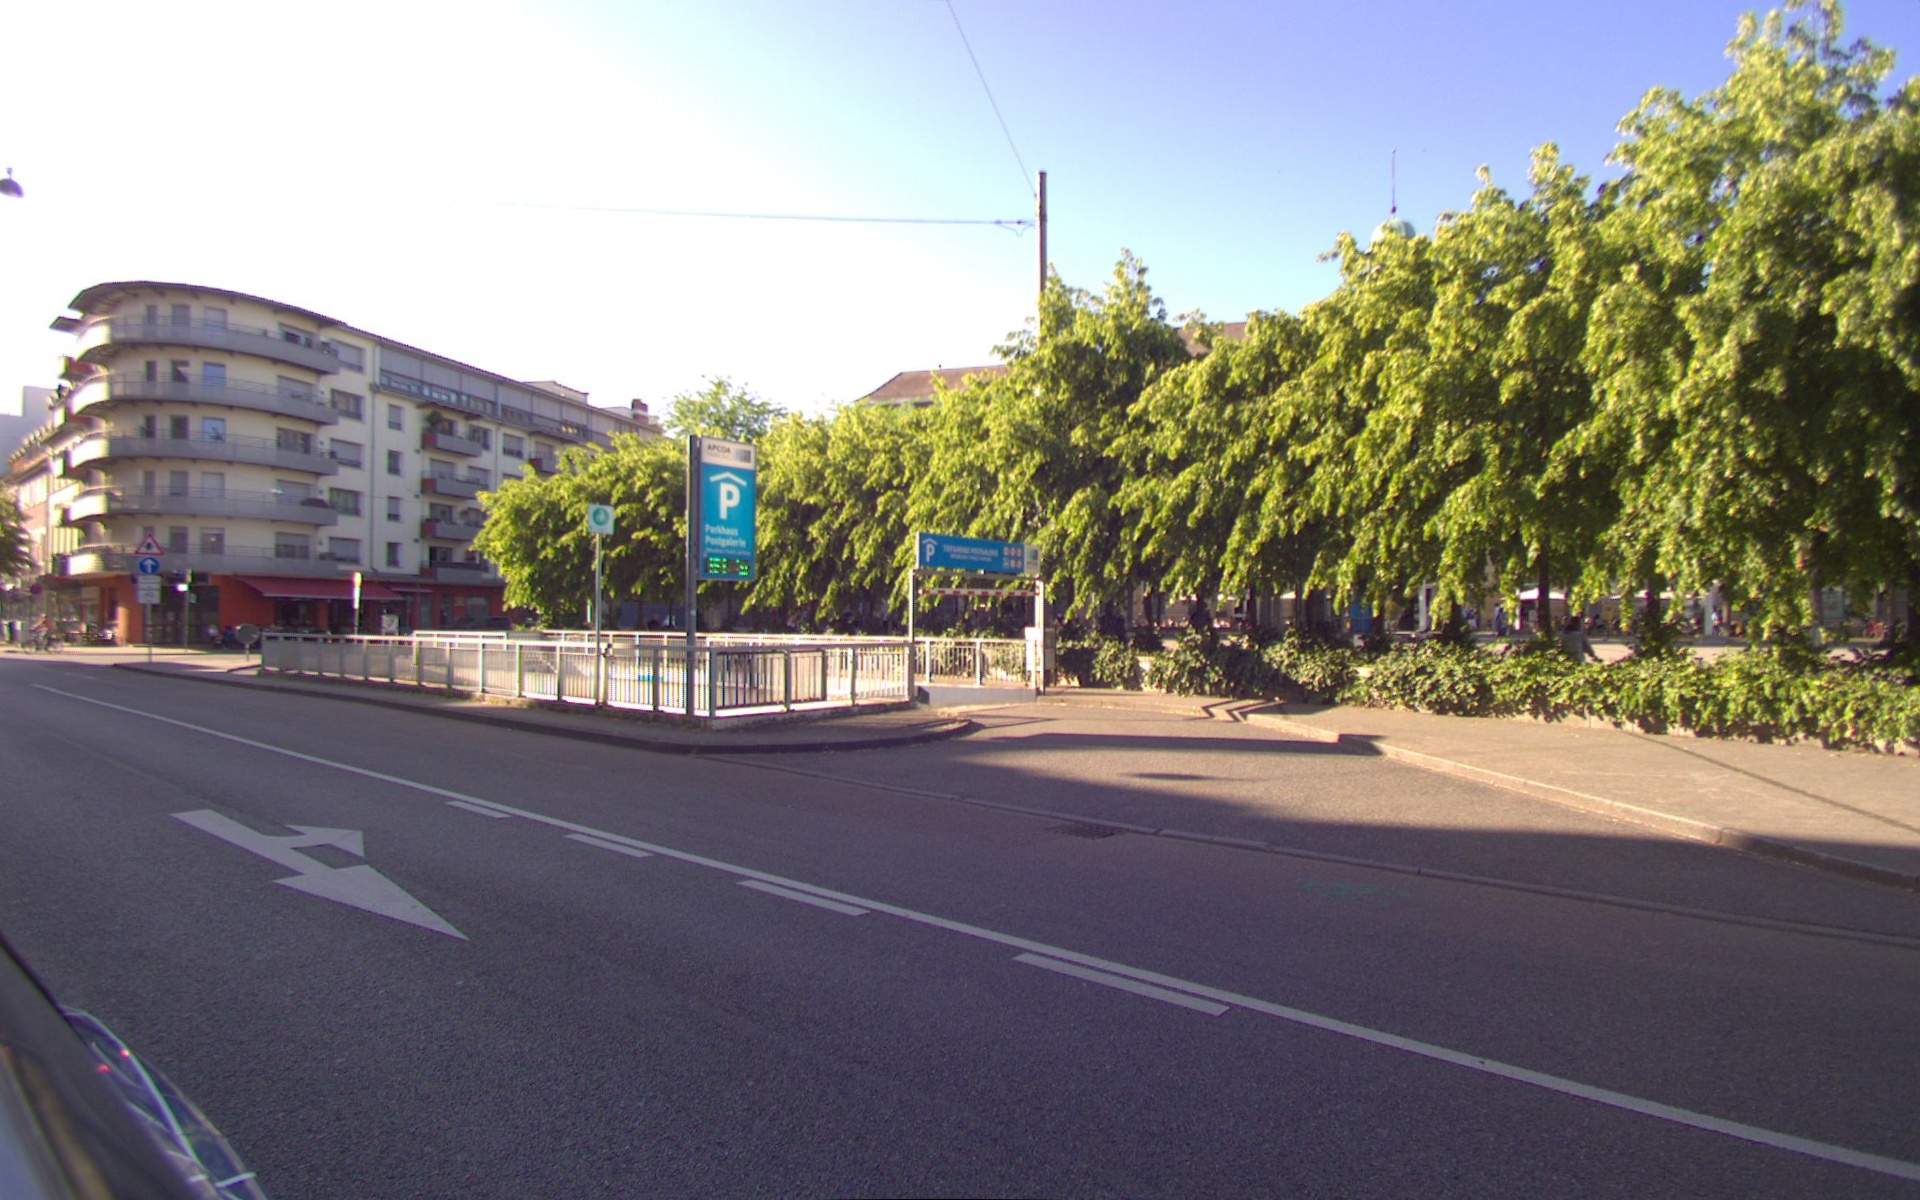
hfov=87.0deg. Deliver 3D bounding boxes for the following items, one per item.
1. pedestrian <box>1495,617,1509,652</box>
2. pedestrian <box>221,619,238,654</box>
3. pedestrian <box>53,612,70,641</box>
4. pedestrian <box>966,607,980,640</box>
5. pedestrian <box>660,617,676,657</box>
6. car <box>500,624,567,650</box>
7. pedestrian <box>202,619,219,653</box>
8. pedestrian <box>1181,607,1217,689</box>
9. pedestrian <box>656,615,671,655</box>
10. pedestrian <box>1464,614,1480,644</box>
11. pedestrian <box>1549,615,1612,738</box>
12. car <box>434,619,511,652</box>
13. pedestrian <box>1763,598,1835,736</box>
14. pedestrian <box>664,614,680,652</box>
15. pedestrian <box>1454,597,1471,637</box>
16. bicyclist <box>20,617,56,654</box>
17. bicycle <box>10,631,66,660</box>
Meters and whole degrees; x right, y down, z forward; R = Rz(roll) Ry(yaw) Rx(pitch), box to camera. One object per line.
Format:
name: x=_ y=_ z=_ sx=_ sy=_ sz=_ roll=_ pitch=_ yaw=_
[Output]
pedestrian: x=28.039 y=1.786 z=52.364 sx=0.580 sy=1.806 sz=0.596 roll=-1 pitch=0 yaw=27
pedestrian: x=-36.770 y=1.822 z=50.944 sx=0.642 sy=1.721 sz=0.568 roll=-2 pitch=-2 yaw=43
pedestrian: x=-50.476 y=1.481 z=56.838 sx=0.792 sy=1.634 sz=0.563 roll=-1 pitch=-1 yaw=37
pedestrian: x=0.740 y=1.329 z=57.162 sx=0.578 sy=1.806 sz=0.597 roll=-1 pitch=0 yaw=20
pedestrian: x=-13.337 y=1.670 z=46.181 sx=0.574 sy=1.806 sz=0.602 roll=0 pitch=0 yaw=-5
car: x=-28.879 y=2.481 z=68.603 sx=1.938 sy=1.633 sz=4.272 roll=-1 pitch=-1 yaw=16
pedestrian: x=-37.437 y=1.796 z=50.568 sx=0.642 sy=1.721 sz=0.568 roll=-2 pitch=-2 yaw=43
pedestrian: x=5.608 y=1.115 z=23.758 sx=0.674 sy=1.870 sz=0.577 roll=-1 pitch=-1 yaw=30
pedestrian: x=-13.742 y=1.607 z=46.882 sx=0.574 sy=1.806 sz=0.602 roll=0 pitch=0 yaw=-5
pedestrian: x=30.818 y=1.760 z=60.931 sx=0.593 sy=1.806 sz=0.583 roll=-1 pitch=0 yaw=0
pedestrian: x=9.773 y=1.174 z=15.939 sx=0.732 sy=1.870 sz=0.574 roll=-1 pitch=-1 yaw=44
car: x=-30.440 y=2.204 z=63.376 sx=1.938 sy=1.927 sz=4.403 roll=-1 pitch=-1 yaw=16
pedestrian: x=11.701 y=0.914 z=14.134 sx=0.597 sy=1.870 sz=0.578 roll=-1 pitch=0 yaw=22
pedestrian: x=-13.752 y=1.571 z=48.383 sx=0.574 sy=1.806 sz=0.601 roll=-1 pitch=0 yaw=0
pedestrian: x=22.814 y=0.781 z=45.938 sx=0.599 sy=1.806 sz=0.576 roll=-1 pitch=-1 yaw=31
bicyclist: x=-41.049 y=1.579 z=45.070 sx=0.962 sy=1.627 sz=0.714 roll=-1 pitch=0 yaw=-2
bicycle: x=-41.041 y=2.020 z=45.068 sx=1.847 sy=1.221 sz=0.714 roll=-1 pitch=0 yaw=0
